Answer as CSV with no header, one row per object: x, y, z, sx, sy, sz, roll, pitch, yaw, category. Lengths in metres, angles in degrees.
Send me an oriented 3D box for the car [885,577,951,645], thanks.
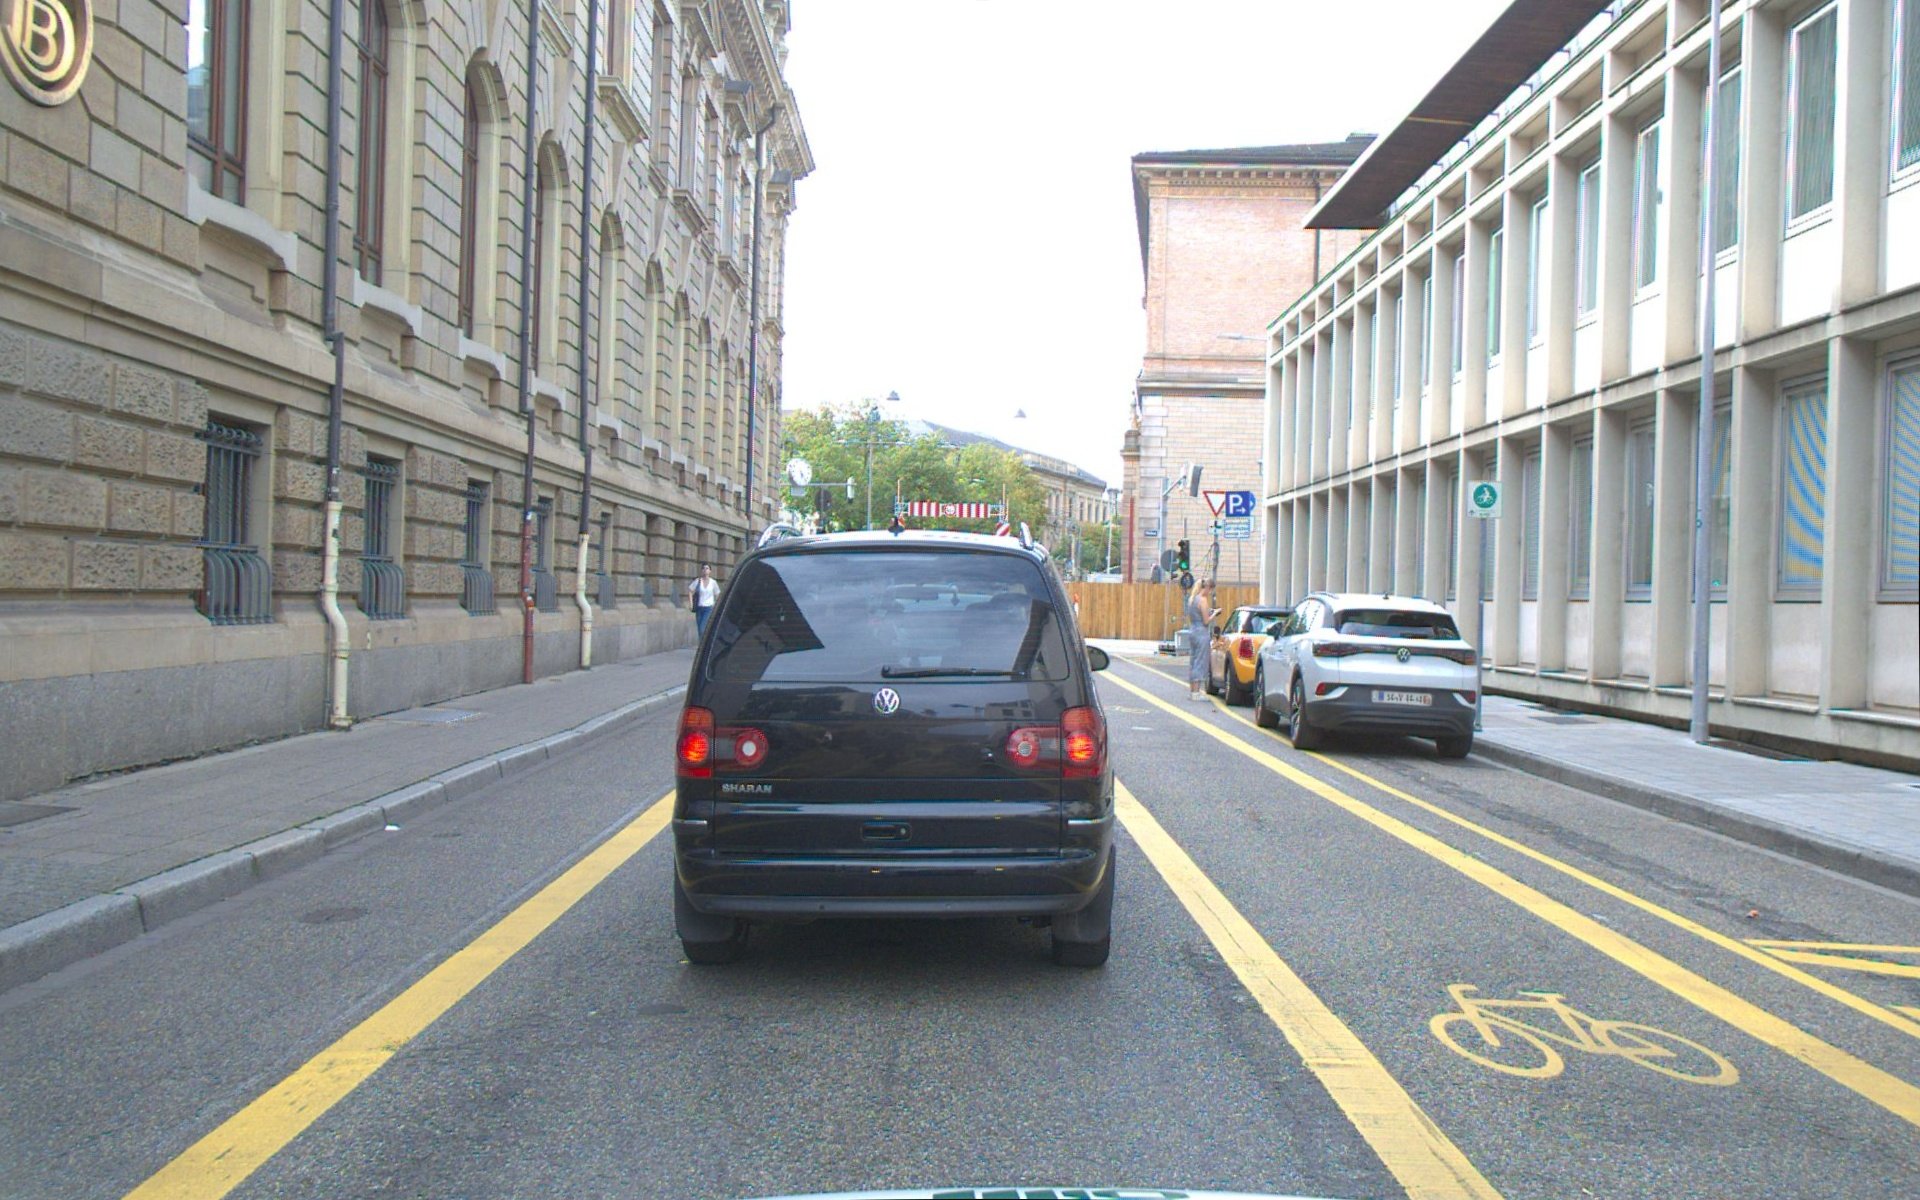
-1.237,0.300,47.260,1.700,1.821,4.100,2,0,-4,car

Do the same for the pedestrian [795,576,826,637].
-4.654,0.193,51.554,0.776,1.851,1.048,3,-1,-1,pedestrian

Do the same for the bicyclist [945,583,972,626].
-0.065,0.156,54.525,0.722,1.401,0.826,1,-1,-12,bicyclist

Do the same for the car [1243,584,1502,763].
4.459,0.734,18.585,1.822,1.633,4.513,4,0,2,car

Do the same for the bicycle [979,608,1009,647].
0.900,0.727,44.671,0.720,1.026,2.068,1,0,-1,bicycle

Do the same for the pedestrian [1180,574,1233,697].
3.682,0.522,24.743,0.683,1.794,0.706,1,-1,3,pedestrian

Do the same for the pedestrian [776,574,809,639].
-4.909,0.182,48.515,0.776,1.851,1.048,3,-1,-1,pedestrian

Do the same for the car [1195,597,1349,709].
4.666,0.751,25.211,1.645,1.459,3.887,4,0,2,car

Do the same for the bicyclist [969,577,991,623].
0.689,0.007,57.379,0.720,1.582,0.895,1,-1,-1,bicyclist

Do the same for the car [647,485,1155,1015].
-0.136,0.525,7.810,1.752,1.821,4.104,1,0,2,car

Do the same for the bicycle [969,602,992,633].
0.701,0.608,57.435,0.720,1.026,2.068,1,0,-1,bicycle

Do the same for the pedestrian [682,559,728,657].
-4.990,0.158,32.414,0.650,1.851,1.048,3,-1,-1,pedestrian

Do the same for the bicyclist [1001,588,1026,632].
1.721,0.313,53.234,0.720,1.399,0.831,1,0,-1,bicyclist

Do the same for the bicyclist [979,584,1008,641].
0.907,0.339,44.631,0.720,1.504,0.884,1,0,-1,bicyclist

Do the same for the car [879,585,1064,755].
0.174,0.640,17.060,1.643,1.495,4.104,1,0,2,car

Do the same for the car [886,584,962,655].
-0.867,0.450,40.254,1.737,1.613,3.999,1,0,-1,car

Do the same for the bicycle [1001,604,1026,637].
1.713,0.665,53.248,0.720,1.026,2.068,1,0,-1,bicycle
